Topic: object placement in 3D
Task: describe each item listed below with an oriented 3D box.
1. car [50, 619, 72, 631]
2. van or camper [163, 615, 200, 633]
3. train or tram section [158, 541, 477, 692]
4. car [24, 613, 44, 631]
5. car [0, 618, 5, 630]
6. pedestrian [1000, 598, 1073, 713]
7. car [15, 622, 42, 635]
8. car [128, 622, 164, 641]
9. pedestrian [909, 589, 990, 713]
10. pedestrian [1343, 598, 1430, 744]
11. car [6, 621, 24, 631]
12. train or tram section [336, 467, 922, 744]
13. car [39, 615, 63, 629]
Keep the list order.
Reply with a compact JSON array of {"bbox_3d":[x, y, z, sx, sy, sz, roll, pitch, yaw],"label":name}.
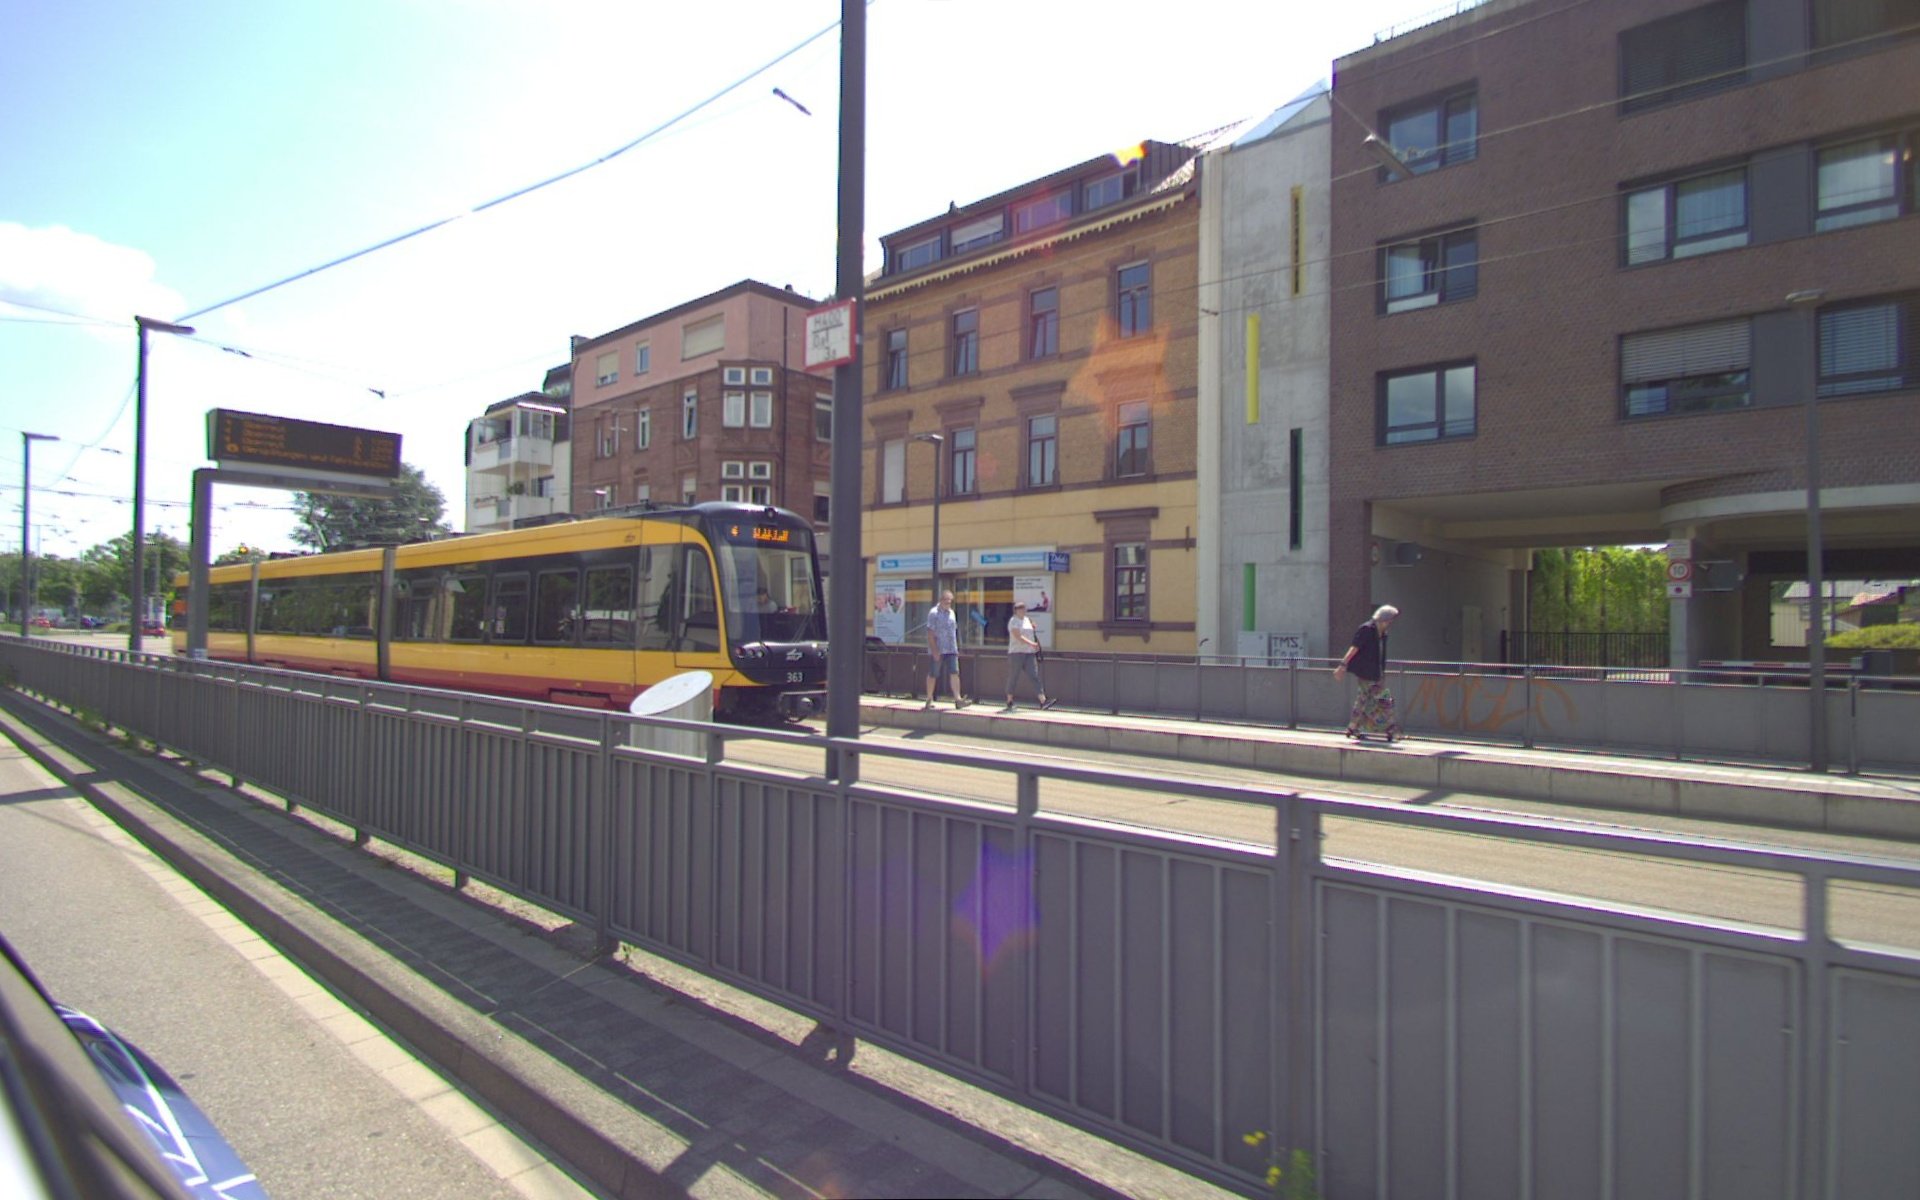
[{"bbox_3d":[-121.246,3.417,136.516,3.998,1.608,1.722,-1,-3,41],"label":"car"},{"bbox_3d":[-146.388,4.498,190.216,2.246,3.141,5.090,-1,-3,41],"label":"van or camper"},{"bbox_3d":[-21.370,0.523,32.262,20.497,3.594,3.216,-1,-2,42],"label":"train or tram section"},{"bbox_3d":[-141.418,3.389,154.604,3.998,2.608,1.722,-1,-3,41],"label":"car"},{"bbox_3d":[-152.325,3.760,159.568,4.550,1.890,1.840,-1,-3,39],"label":"car"},{"bbox_3d":[1.174,0.842,15.540,0.808,1.708,0.752,-1,-3,41],"label":"pedestrian"},{"bbox_3d":[-108.218,3.292,117.539,4.821,1.461,1.972,-1,-1,43],"label":"car"},{"bbox_3d":[-65.388,2.532,81.238,3.853,1.456,1.637,-1,-3,43],"label":"car"},{"bbox_3d":[-0.158,0.763,15.414,0.951,1.813,0.752,-1,-3,41],"label":"pedestrian"},{"bbox_3d":[4.930,0.797,11.696,0.761,1.608,0.678,-1,-3,41],"label":"pedestrian"},{"bbox_3d":[-157.752,4.365,168.894,3.998,1.706,1.722,-1,-3,41],"label":"car"},{"bbox_3d":[-7.713,0.185,19.829,16.346,3.594,3.200,-1,-2,42],"label":"train or tram section"},{"bbox_3d":[-130.109,3.151,144.835,3.998,1.980,1.941,-1,-3,41],"label":"car"}]
